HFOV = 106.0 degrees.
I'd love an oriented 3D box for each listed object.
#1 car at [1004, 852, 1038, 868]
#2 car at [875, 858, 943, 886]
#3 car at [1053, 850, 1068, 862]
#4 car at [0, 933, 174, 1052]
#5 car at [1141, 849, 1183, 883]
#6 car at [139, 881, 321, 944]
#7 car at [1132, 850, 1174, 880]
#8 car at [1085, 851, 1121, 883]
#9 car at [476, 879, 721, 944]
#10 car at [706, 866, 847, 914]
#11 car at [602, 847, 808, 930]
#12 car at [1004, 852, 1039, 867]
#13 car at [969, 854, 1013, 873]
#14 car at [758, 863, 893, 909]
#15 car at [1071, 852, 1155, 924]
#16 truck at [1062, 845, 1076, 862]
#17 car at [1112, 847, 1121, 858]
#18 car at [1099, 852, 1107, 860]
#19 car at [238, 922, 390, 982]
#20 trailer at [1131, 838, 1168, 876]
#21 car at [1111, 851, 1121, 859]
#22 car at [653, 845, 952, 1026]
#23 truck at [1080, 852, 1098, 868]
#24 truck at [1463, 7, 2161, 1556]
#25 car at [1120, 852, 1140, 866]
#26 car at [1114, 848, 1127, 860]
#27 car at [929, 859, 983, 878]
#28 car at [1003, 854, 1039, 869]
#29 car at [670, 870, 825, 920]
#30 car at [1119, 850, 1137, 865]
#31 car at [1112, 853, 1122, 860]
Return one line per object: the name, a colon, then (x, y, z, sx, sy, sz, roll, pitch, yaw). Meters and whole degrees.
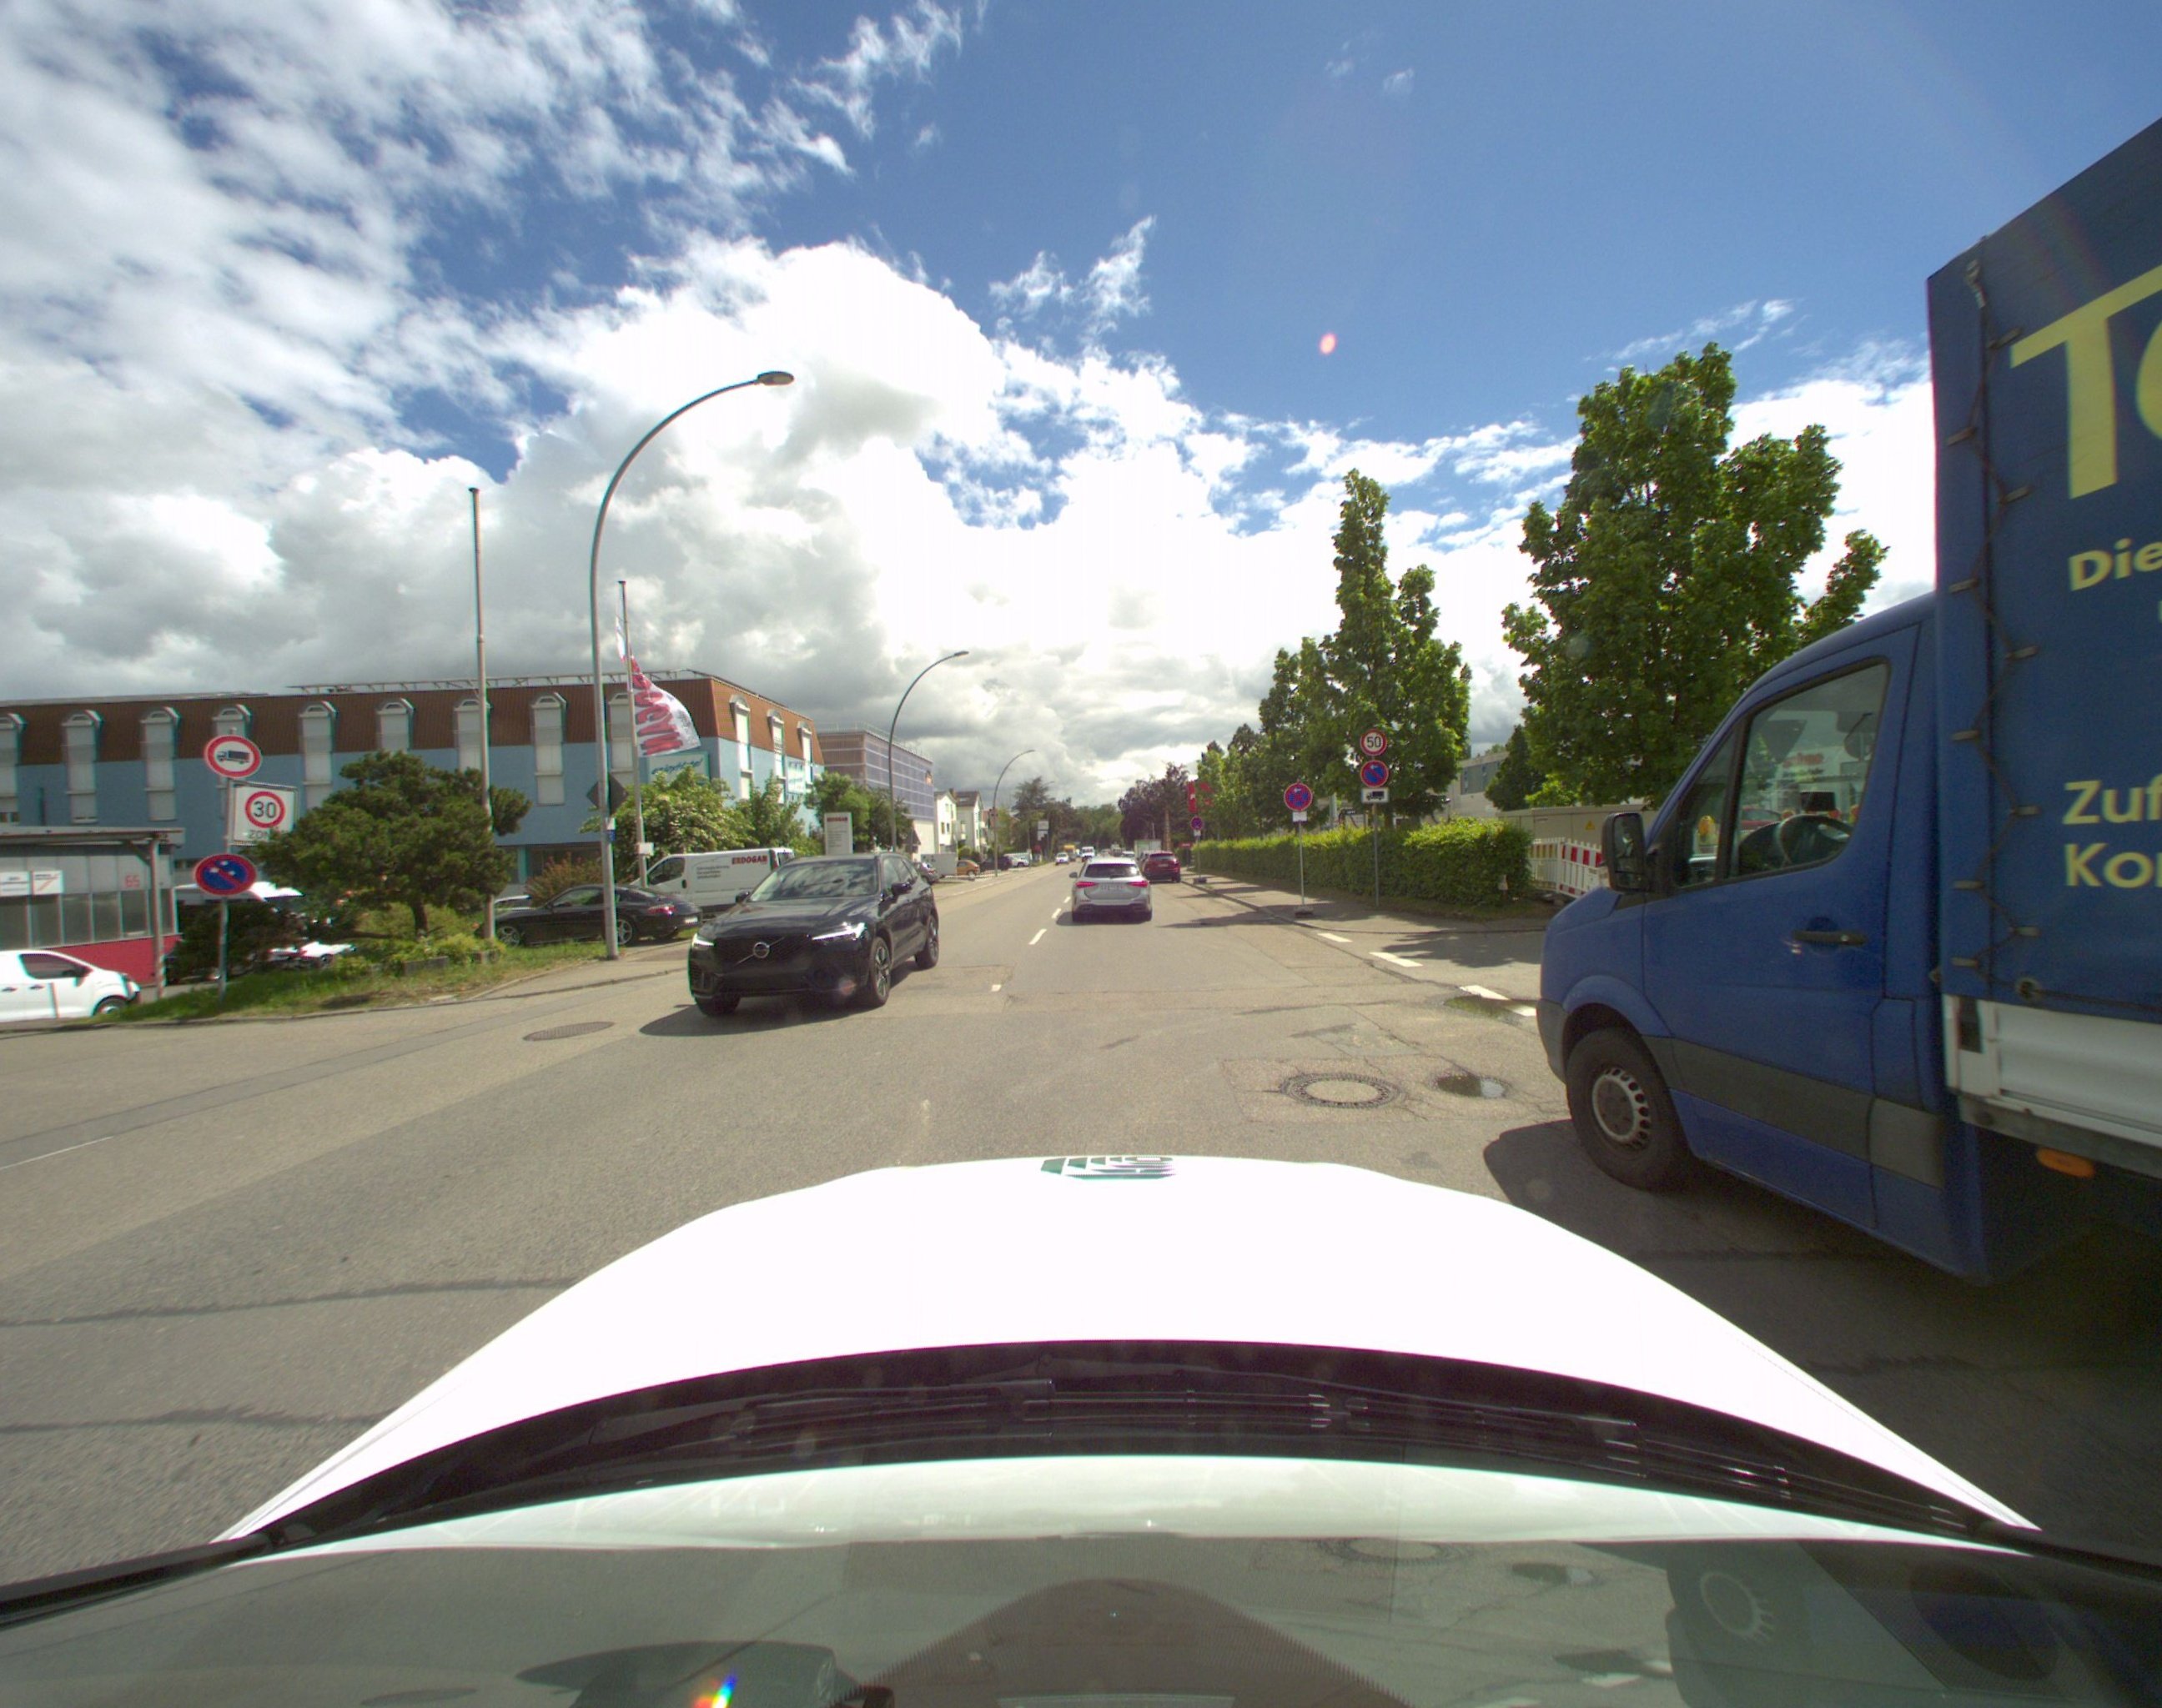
car: (-7.904, 0.850, 107.557, 4.265, 1.836, 1.991, -3, -3, 0)
car: (-10.505, 1.103, 49.854, 3.612, 1.532, 1.981, -2, 0, 3)
car: (-2.808, 0.245, 112.736, 1.785, 1.603, 4.365, -3, 0, 1)
car: (-22.151, 2.875, 16.465, 1.987, 2.013, 5.024, 0, 0, 0)
car: (4.123, 0.582, 42.093, 1.933, 1.571, 4.450, -3, 0, 4)
car: (-36.529, 2.479, 35.073, 5.448, 2.546, 2.280, 0, 0, 0)
car: (4.142, 0.574, 47.318, 1.936, 1.571, 4.444, -3, 0, -1)
car: (1.124, 0.659, 43.022, 1.749, 1.558, 4.001, -2, 0, 1)
car: (-9.947, 1.157, 17.039, 3.974, 1.204, 1.871, 0, 0, -1)
car: (-10.247, 1.190, 27.567, 3.970, 1.355, 1.873, -2, 0, 3)
car: (-10.275, 0.896, 22.573, 4.639, 1.972, 2.114, -2, 0, -2)
car: (-7.706, 0.731, 105.244, 4.265, 1.567, 1.991, -3, -3, 0)
car: (-10.031, 1.083, 91.066, 4.615, 1.632, 2.196, -5, 1, -2)
car: (-9.447, 1.158, 30.318, 4.358, 1.478, 1.872, -2, -1, 1)
car: (0.691, 0.726, 19.701, 1.779, 1.484, 4.316, -1, 0, 0)
truck: (-2.129, -0.165, 146.586, 2.066, 2.814, 7.083, -3, 0, 3)
car: (8.060, -0.273, 185.507, 1.779, 2.518, 4.315, -1, 0, 0)
car: (4.555, 0.319, 169.523, 1.749, 1.558, 4.001, -2, 0, 1)
car: (-27.689, 3.496, 29.580, 1.987, 1.705, 3.705, 0, 0, 0)
trailer: (4.418, 0.183, 53.216, 1.935, 2.294, 4.445, -3, 0, 0)
car: (7.439, 0.277, 173.465, 1.779, 1.715, 4.315, -1, 0, 0)
car: (-3.011, 0.762, 9.989, 1.987, 1.615, 4.412, -3, 0, 1)
truck: (1.315, 0.915, 124.862, 2.309, 2.178, 6.455, -3, 0, 3)
truck: (3.321, -0.146, 1.754, 2.312, 3.097, 6.045, 0, 0, 2)
car: (5.341, 0.511, 88.958, 1.786, 1.450, 4.362, -3, 0, -1)
car: (7.192, 0.007, 147.936, 2.136, 1.984, 5.263, -3, 0, 2)
car: (-10.159, 1.183, 66.568, 4.139, 1.491, 1.824, 0, 0, -2)
car: (-7.549, 0.978, 102.233, 4.263, 1.567, 1.992, -3, -3, 1)
car: (-10.251, 1.236, 25.254, 3.974, 1.315, 1.871, -2, -1, 0)
car: (5.431, 0.355, 94.787, 1.785, 1.552, 4.574, -3, 0, 1)
car: (7.420, 0.495, 166.758, 1.779, 1.484, 4.315, -1, 0, 0)
